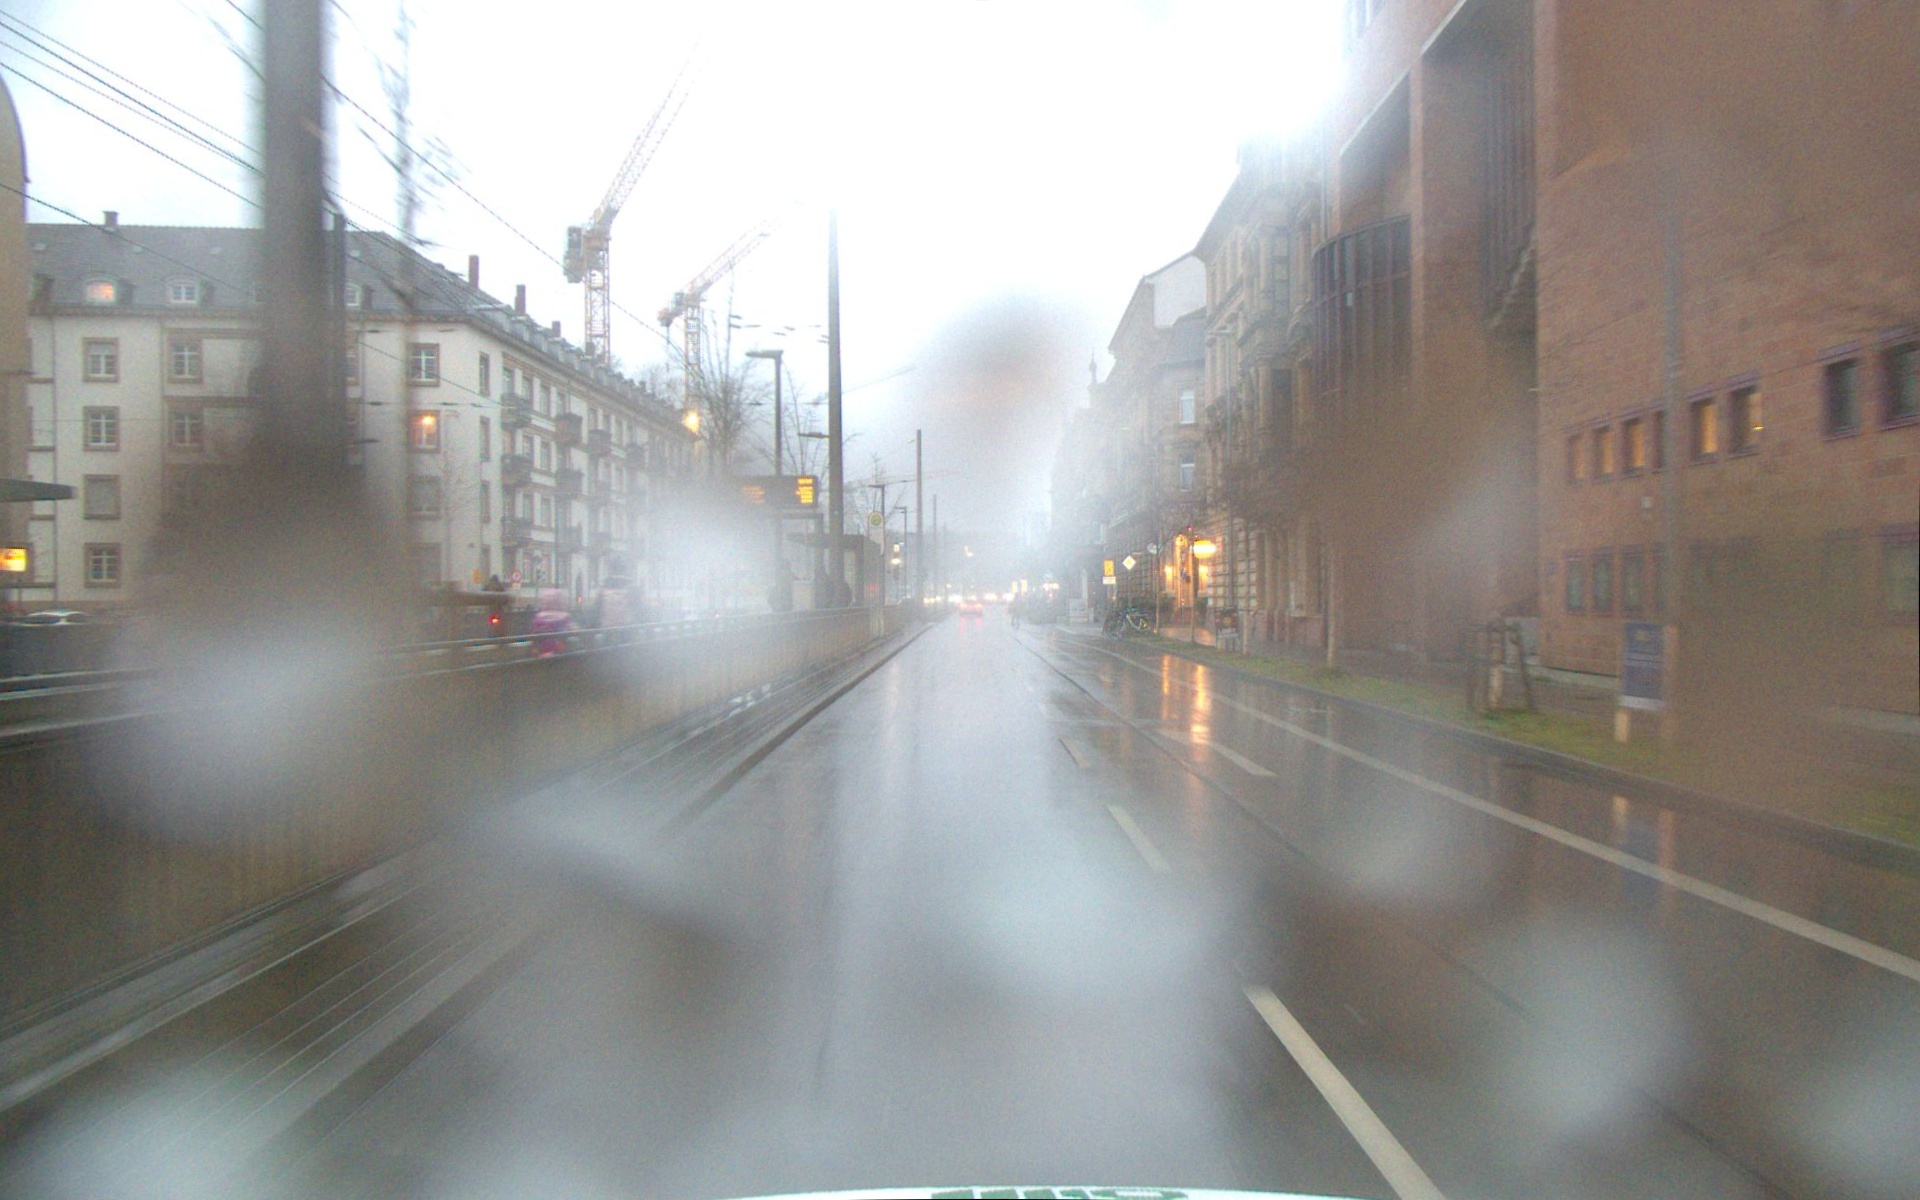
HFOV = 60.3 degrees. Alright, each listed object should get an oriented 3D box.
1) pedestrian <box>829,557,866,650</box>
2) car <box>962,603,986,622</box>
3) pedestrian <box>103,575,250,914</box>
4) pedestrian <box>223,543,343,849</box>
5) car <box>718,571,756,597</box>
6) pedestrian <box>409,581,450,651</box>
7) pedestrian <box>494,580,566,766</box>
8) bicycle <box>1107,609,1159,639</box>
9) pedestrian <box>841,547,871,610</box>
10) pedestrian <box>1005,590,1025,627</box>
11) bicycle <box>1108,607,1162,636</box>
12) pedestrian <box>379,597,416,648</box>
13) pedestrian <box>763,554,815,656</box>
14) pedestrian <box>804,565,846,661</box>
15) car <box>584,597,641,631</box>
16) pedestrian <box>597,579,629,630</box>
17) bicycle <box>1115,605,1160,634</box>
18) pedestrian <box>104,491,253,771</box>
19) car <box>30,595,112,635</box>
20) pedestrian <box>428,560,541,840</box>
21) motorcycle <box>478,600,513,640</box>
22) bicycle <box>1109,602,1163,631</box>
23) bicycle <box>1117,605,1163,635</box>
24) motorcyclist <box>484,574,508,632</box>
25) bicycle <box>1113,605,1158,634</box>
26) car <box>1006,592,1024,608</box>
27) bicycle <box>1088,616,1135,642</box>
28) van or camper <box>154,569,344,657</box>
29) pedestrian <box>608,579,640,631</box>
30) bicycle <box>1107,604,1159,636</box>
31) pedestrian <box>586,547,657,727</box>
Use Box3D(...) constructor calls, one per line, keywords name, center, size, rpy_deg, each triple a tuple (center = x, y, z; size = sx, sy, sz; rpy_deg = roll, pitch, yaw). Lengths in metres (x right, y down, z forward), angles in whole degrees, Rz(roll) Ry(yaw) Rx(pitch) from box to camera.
Box3D(name="pedestrian", center=(-2.632, 0.071, 38.688), size=(0.793, 2.147, 0.804), rpy_deg=(0, 0, 1))
Box3D(name="car", center=(1.112, 0.968, 131.664), size=(1.747, 1.492, 3.149), rpy_deg=(-1, 0, 2))
Box3D(name="pedestrian", center=(-3.875, 0.689, 8.203), size=(0.471, 1.618, 0.563), rpy_deg=(0, 0, -2))
Box3D(name="pedestrian", center=(-3.895, 0.534, 9.536), size=(0.471, 1.708, 0.563), rpy_deg=(0, 0, -2))
Box3D(name="car", center=(-12.340, -0.891, 91.868), size=(1.647, 1.378, 3.545), rpy_deg=(0, 0, -1))
Box3D(name="pedestrian", center=(-11.920, 0.352, 37.173), size=(0.631, 1.551, 0.745), rpy_deg=(1, 0, -41))
Box3D(name="pedestrian", center=(-4.063, 0.676, 15.665), size=(0.529, 1.722, 0.643), rpy_deg=(0, 0, -2))
Box3D(name="bicycle", center=(7.213, 0.997, 68.942), size=(2.100, 1.073, 0.425), rpy_deg=(-3, 1, -1))
Box3D(name="pedestrian", center=(-2.581, -0.525, 40.973), size=(0.668, 1.542, 0.617), rpy_deg=(0, 0, -12))
Box3D(name="pedestrian", center=(3.010, 0.460, 90.611), size=(0.896, 2.049, 0.856), rpy_deg=(0, 0, 19))
Box3D(name="bicycle", center=(7.156, 0.880, 67.654), size=(2.100, 1.073, 0.484), rpy_deg=(-2, 0, -1))
Box3D(name="pedestrian", center=(-12.529, 0.491, 36.853), size=(0.603, 1.122, 0.583), rpy_deg=(1, 0, -41))
Box3D(name="pedestrian", center=(-2.961, 0.079, 28.639), size=(0.764, 1.733, 0.769), rpy_deg=(0, 0, -18))
Box3D(name="pedestrian", center=(-2.830, 0.274, 34.705), size=(0.793, 1.981, 0.804), rpy_deg=(0, 0, 1))
Box3D(name="car", center=(-14.364, 0.567, 68.527), size=(1.647, 1.378, 3.545), rpy_deg=(0, 0, -1))
Box3D(name="pedestrian", center=(-12.475, 0.155, 59.478), size=(0.791, 1.811, 0.810), rpy_deg=(1, 0, -41))
Box3D(name="bicycle", center=(6.905, 0.770, 64.354), size=(1.694, 1.073, 0.371), rpy_deg=(-2, 0, -1))
Box3D(name="pedestrian", center=(-4.661, 0.179, 9.892), size=(0.605, 1.618, 0.622), rpy_deg=(0, 0, -2))
Box3D(name="car", center=(-34.081, 0.544, 63.516), size=(1.572, 1.455, 4.133), rpy_deg=(-1, 0, -11))
Box3D(name="pedestrian", center=(-2.834, 0.580, 9.894), size=(0.529, 1.618, 0.563), rpy_deg=(0, 0, -2))
Box3D(name="motorcycle", center=(-12.139, 0.518, 43.276), size=(0.502, 1.026, 1.805), rpy_deg=(1, 0, -3))
Box3D(name="bicycle", center=(7.111, 0.673, 67.009), size=(2.100, 1.073, 0.425), rpy_deg=(-3, 1, -1))
Box3D(name="bicycle", center=(6.961, 0.768, 63.852), size=(1.694, 1.073, 0.371), rpy_deg=(-2, 0, -1))
Box3D(name="motorcyclist", center=(-12.132, 0.078, 43.284), size=(0.489, 1.522, 0.556), rpy_deg=(1, 0, -5))
Box3D(name="bicycle", center=(6.858, 0.773, 64.810), size=(1.694, 1.073, 0.371), rpy_deg=(-2, 0, -1))
Box3D(name="car", center=(5.764, 0.013, 171.900), size=(1.761, 1.632, 3.771), rpy_deg=(-1, 0, 3))
Box3D(name="bicycle", center=(6.568, 1.252, 71.515), size=(2.062, 1.070, 0.474), rpy_deg=(-2, 0, -26))
Box3D(name="van or camper", center=(-23.782, 0.402, 55.740), size=(2.714, 2.729, 6.759), rpy_deg=(1, 0, 8))
Box3D(name="pedestrian", center=(-11.694, 0.171, 57.558), size=(0.791, 1.811, 0.810), rpy_deg=(1, 0, -41))
Box3D(name="bicycle", center=(6.860, 0.795, 65.774), size=(1.967, 1.114, 0.425), rpy_deg=(-3, 0, -1))
Box3D(name="pedestrian", center=(-3.353, 0.358, 16.382), size=(0.635, 1.733, 0.565), rpy_deg=(0, 0, -18))
